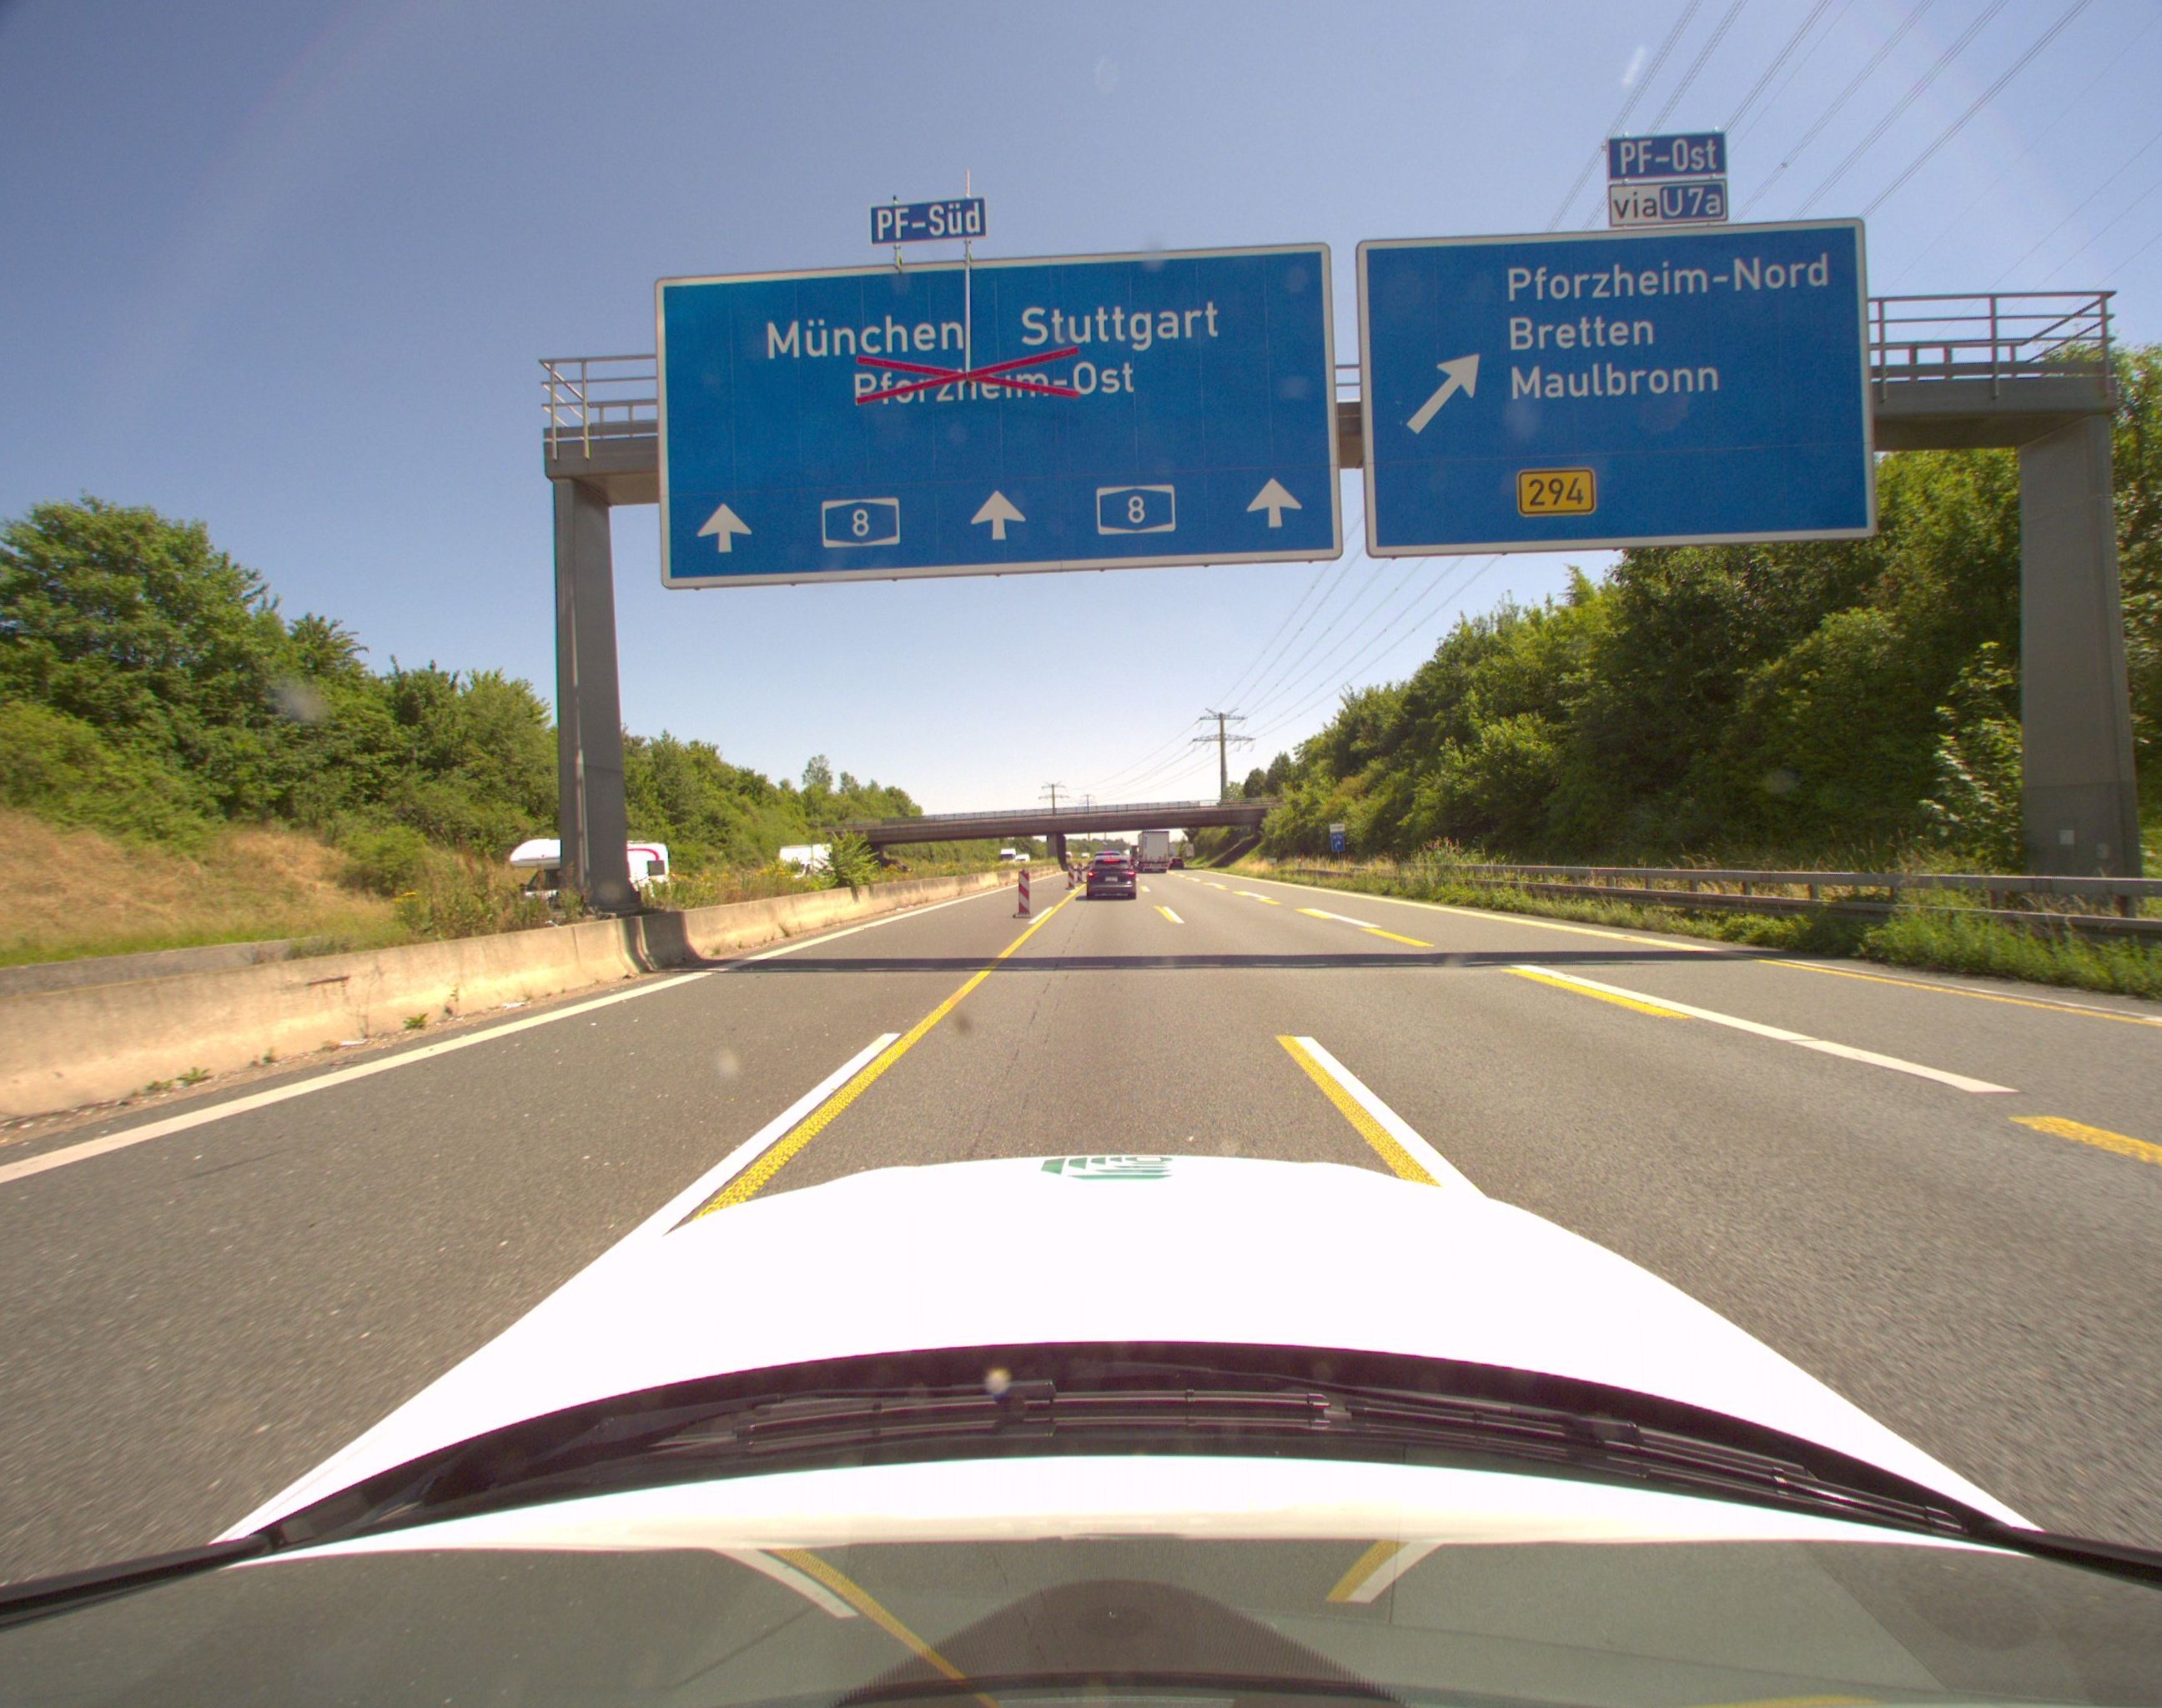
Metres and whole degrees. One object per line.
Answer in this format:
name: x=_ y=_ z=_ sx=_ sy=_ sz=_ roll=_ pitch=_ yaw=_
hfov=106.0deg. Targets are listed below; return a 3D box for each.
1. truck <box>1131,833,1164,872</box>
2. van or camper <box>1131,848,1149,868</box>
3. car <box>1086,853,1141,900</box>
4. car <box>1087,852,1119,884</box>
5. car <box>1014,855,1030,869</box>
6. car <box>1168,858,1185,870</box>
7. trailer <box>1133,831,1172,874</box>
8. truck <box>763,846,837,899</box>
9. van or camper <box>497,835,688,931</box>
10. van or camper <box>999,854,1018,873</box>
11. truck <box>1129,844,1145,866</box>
truck: x=7.168 y=-0.139 z=89.281 sx=3.014 sy=4.087 sz=7.796 roll=-1 pitch=0 yaw=1
van or camper: x=9.039 y=0.644 z=125.421 sx=2.577 sy=2.968 sz=6.087 roll=-1 pitch=0 yaw=2
car: x=1.195 y=0.806 z=30.871 sx=1.889 sy=1.592 sz=4.443 roll=-2 pitch=0 yaw=1
car: x=1.328 y=0.814 z=49.819 sx=1.889 sy=1.841 sz=4.443 roll=1 pitch=0 yaw=1
car: x=-9.485 y=1.265 z=130.728 sx=2.105 sy=2.197 sz=5.313 roll=0 pitch=0 yaw=1
car: x=12.187 y=1.230 z=104.196 sx=1.772 sy=1.489 sz=4.465 roll=0 pitch=0 yaw=2
trailer: x=7.081 y=-0.132 z=82.490 sx=3.055 sy=4.042 sz=11.487 roll=-1 pitch=0 yaw=1
truck: x=-18.692 y=1.198 z=54.596 sx=2.486 sy=3.259 sz=6.367 roll=-2 pitch=0 yaw=2
van or camper: x=-18.370 y=1.010 z=31.346 sx=2.426 sy=3.147 sz=7.630 roll=-2 pitch=0 yaw=2
van or camper: x=-12.577 y=1.567 z=142.118 sx=2.560 sy=3.187 sz=6.235 roll=-1 pitch=0 yaw=2
truck: x=10.962 y=0.286 z=160.966 sx=3.065 sy=4.146 sz=13.064 roll=0 pitch=0 yaw=3
